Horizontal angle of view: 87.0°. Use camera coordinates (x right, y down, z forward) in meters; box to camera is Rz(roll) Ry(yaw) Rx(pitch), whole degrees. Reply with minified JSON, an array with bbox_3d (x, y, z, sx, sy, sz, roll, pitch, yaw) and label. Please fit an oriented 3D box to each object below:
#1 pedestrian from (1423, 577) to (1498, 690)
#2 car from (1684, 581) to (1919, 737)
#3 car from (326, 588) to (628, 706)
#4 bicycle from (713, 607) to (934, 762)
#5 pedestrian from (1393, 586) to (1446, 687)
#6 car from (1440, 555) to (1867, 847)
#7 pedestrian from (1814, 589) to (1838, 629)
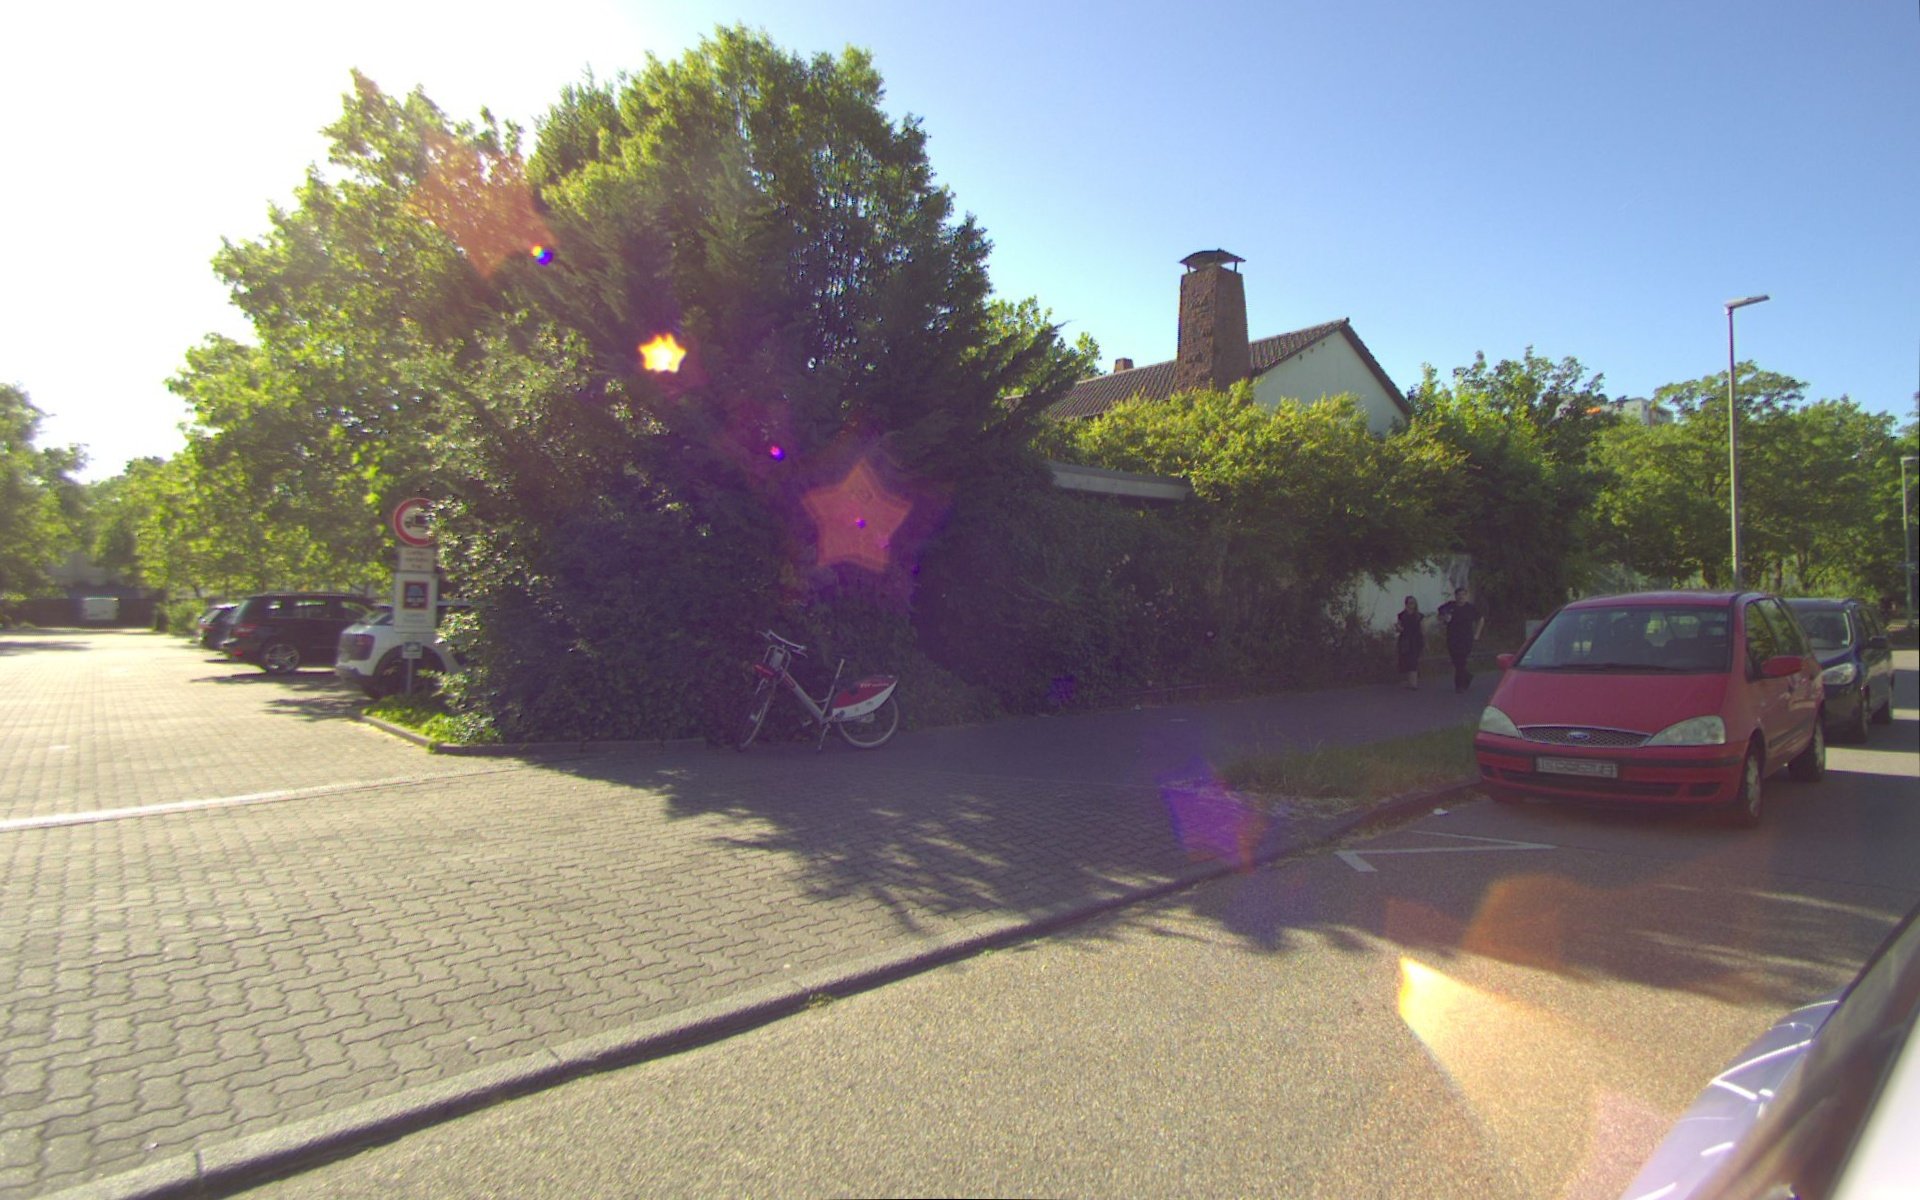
[{"bbox_3d":[8.055,0.501,16.288,0.968,1.738,0.804,-2,2,-45],"label":"pedestrian"},{"bbox_3d":[10.893,0.639,12.969,4.277,1.677,1.727,0,-1,-42],"label":"car"},{"bbox_3d":[-7.114,0.619,15.081,3.736,1.522,1.775,0,-1,-41],"label":"car"},{"bbox_3d":[-1.236,0.715,9.213,1.857,1.236,0.724,-1,2,-25],"label":"bicycle"},{"bbox_3d":[7.711,0.582,16.981,0.780,1.629,0.573,-2,2,-45],"label":"pedestrian"},{"bbox_3d":[6.020,0.638,8.547,4.571,1.828,1.843,0,-1,-40],"label":"car"},{"bbox_3d":[36.730,0.382,42.920,0.629,1.659,0.641,0,-1,-38],"label":"pedestrian"}]
